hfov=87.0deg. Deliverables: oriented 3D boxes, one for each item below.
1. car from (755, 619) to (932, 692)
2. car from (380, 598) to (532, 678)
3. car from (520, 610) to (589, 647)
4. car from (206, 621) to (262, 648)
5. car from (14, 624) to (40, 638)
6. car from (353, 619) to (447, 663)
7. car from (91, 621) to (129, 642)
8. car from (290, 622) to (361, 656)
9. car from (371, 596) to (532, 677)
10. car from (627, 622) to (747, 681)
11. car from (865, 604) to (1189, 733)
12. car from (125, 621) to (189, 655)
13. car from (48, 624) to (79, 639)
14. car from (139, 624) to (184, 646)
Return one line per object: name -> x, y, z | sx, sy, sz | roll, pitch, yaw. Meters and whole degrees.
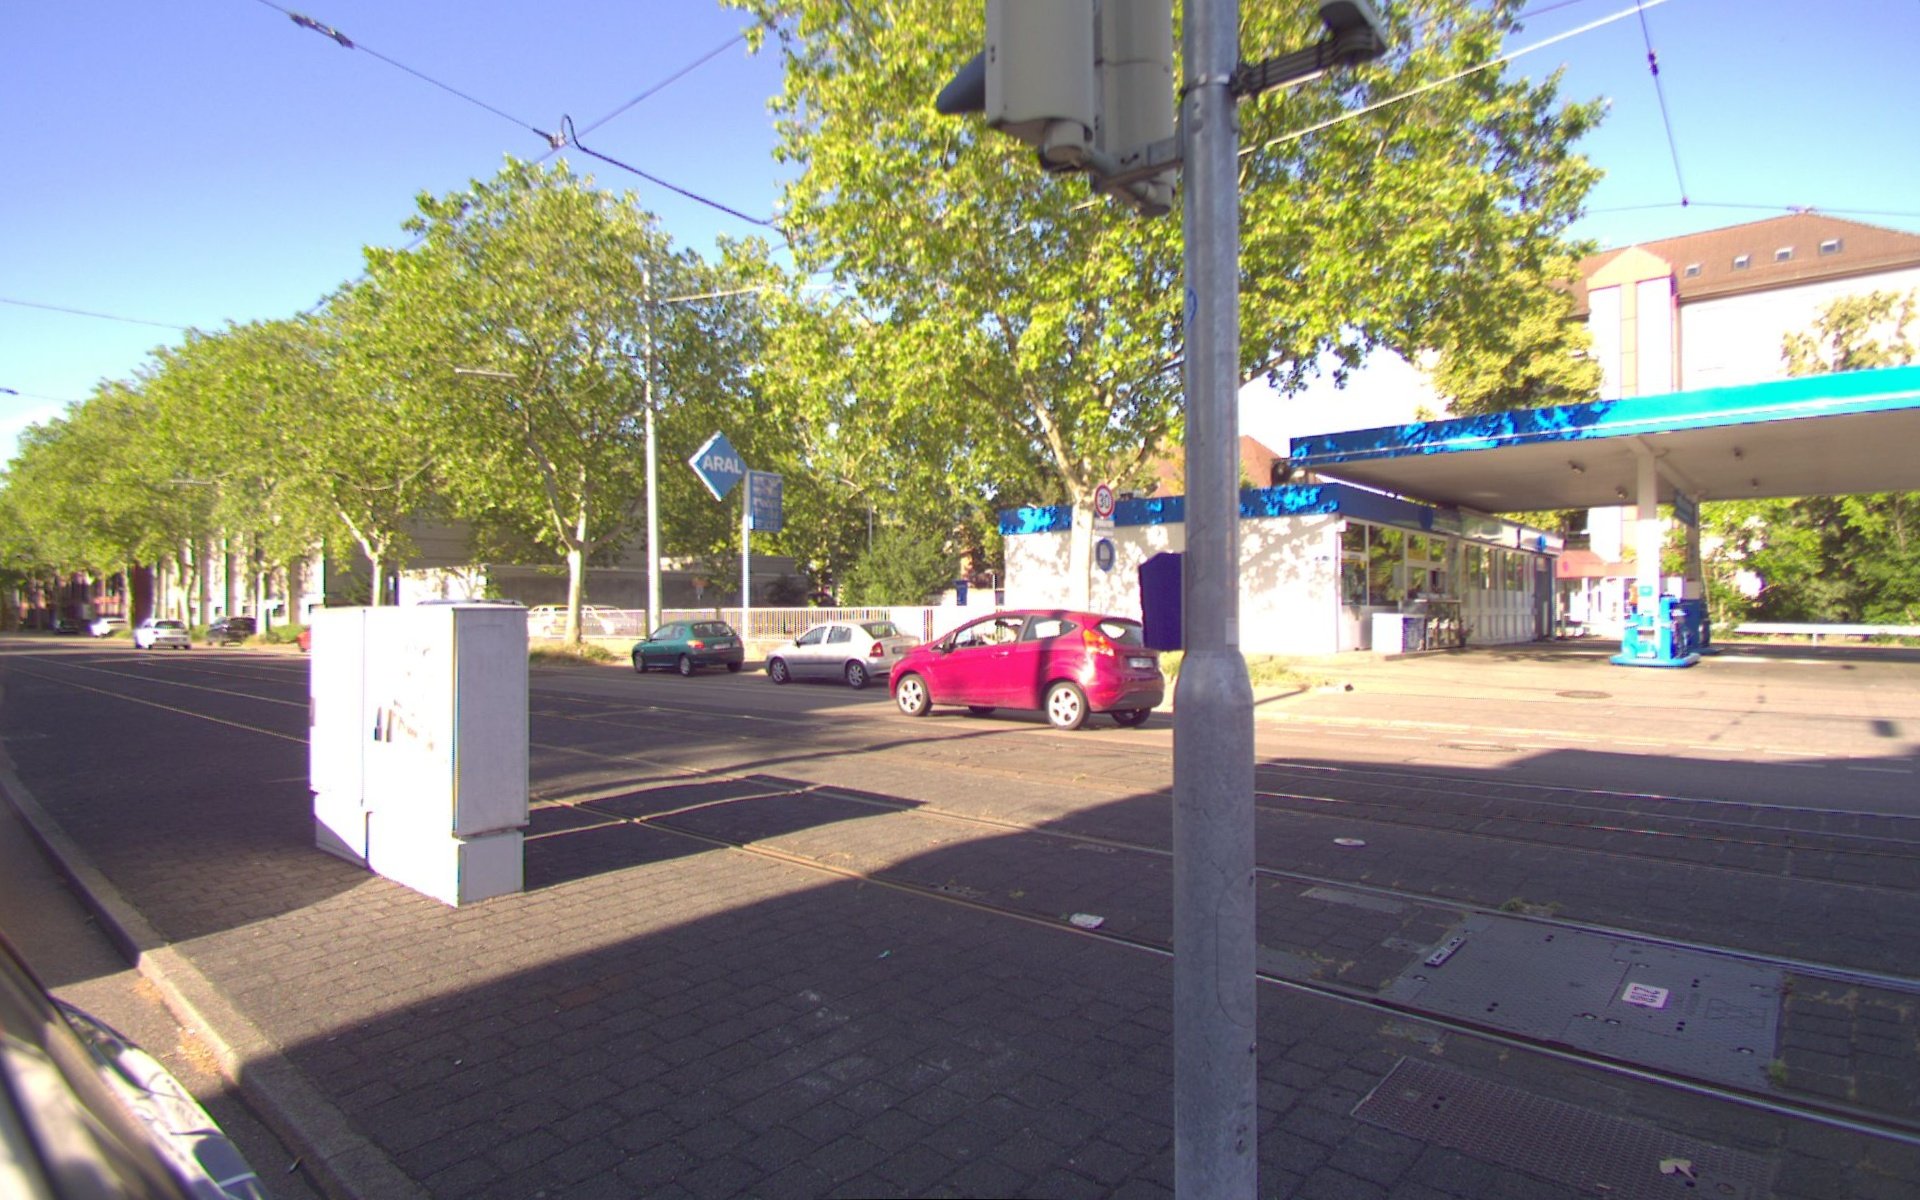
car -> -2.669, 1.174, 22.680 | 3.998, 1.431, 1.709 | -1, 0, 41
car -> -12.855, 0.921, 25.703 | 4.390, 1.860, 1.827 | -1, -2, 39
car -> -16.832, 1.161, 41.970 | 3.151, 1.431, 1.525 | -1, 0, 44
car -> -40.601, 1.906, 56.571 | 3.998, 1.420, 1.678 | -1, -2, 41
car -> -103.194, 3.420, 111.932 | 3.998, 1.420, 1.678 | -1, -2, 41
car -> -22.438, 1.601, 40.495 | 4.431, 1.534, 1.731 | -1, 3, 40
car -> -66.813, 2.438, 79.541 | 3.998, 1.569, 1.678 | -1, -2, 41
car -> -28.989, 1.743, 46.220 | 3.998, 1.480, 1.678 | -1, -2, 41
car -> -13.090, 0.961, 25.889 | 5.111, 1.889, 1.863 | -4, -2, 41
car -> -7.277, 1.313, 26.898 | 3.253, 1.431, 1.526 | -1, 0, 41
car -> 0.765, 0.824, 13.177 | 3.998, 1.431, 1.678 | -1, -4, 41
car -> -38.428, 1.784, 48.406 | 3.998, 1.507, 1.741 | -1, 0, 41
car -> -85.184, 3.001, 96.157 | 3.998, 1.420, 1.678 | -1, -2, 41
car -> -53.811, 2.311, 68.194 | 3.998, 1.420, 1.678 | -1, -2, 41
